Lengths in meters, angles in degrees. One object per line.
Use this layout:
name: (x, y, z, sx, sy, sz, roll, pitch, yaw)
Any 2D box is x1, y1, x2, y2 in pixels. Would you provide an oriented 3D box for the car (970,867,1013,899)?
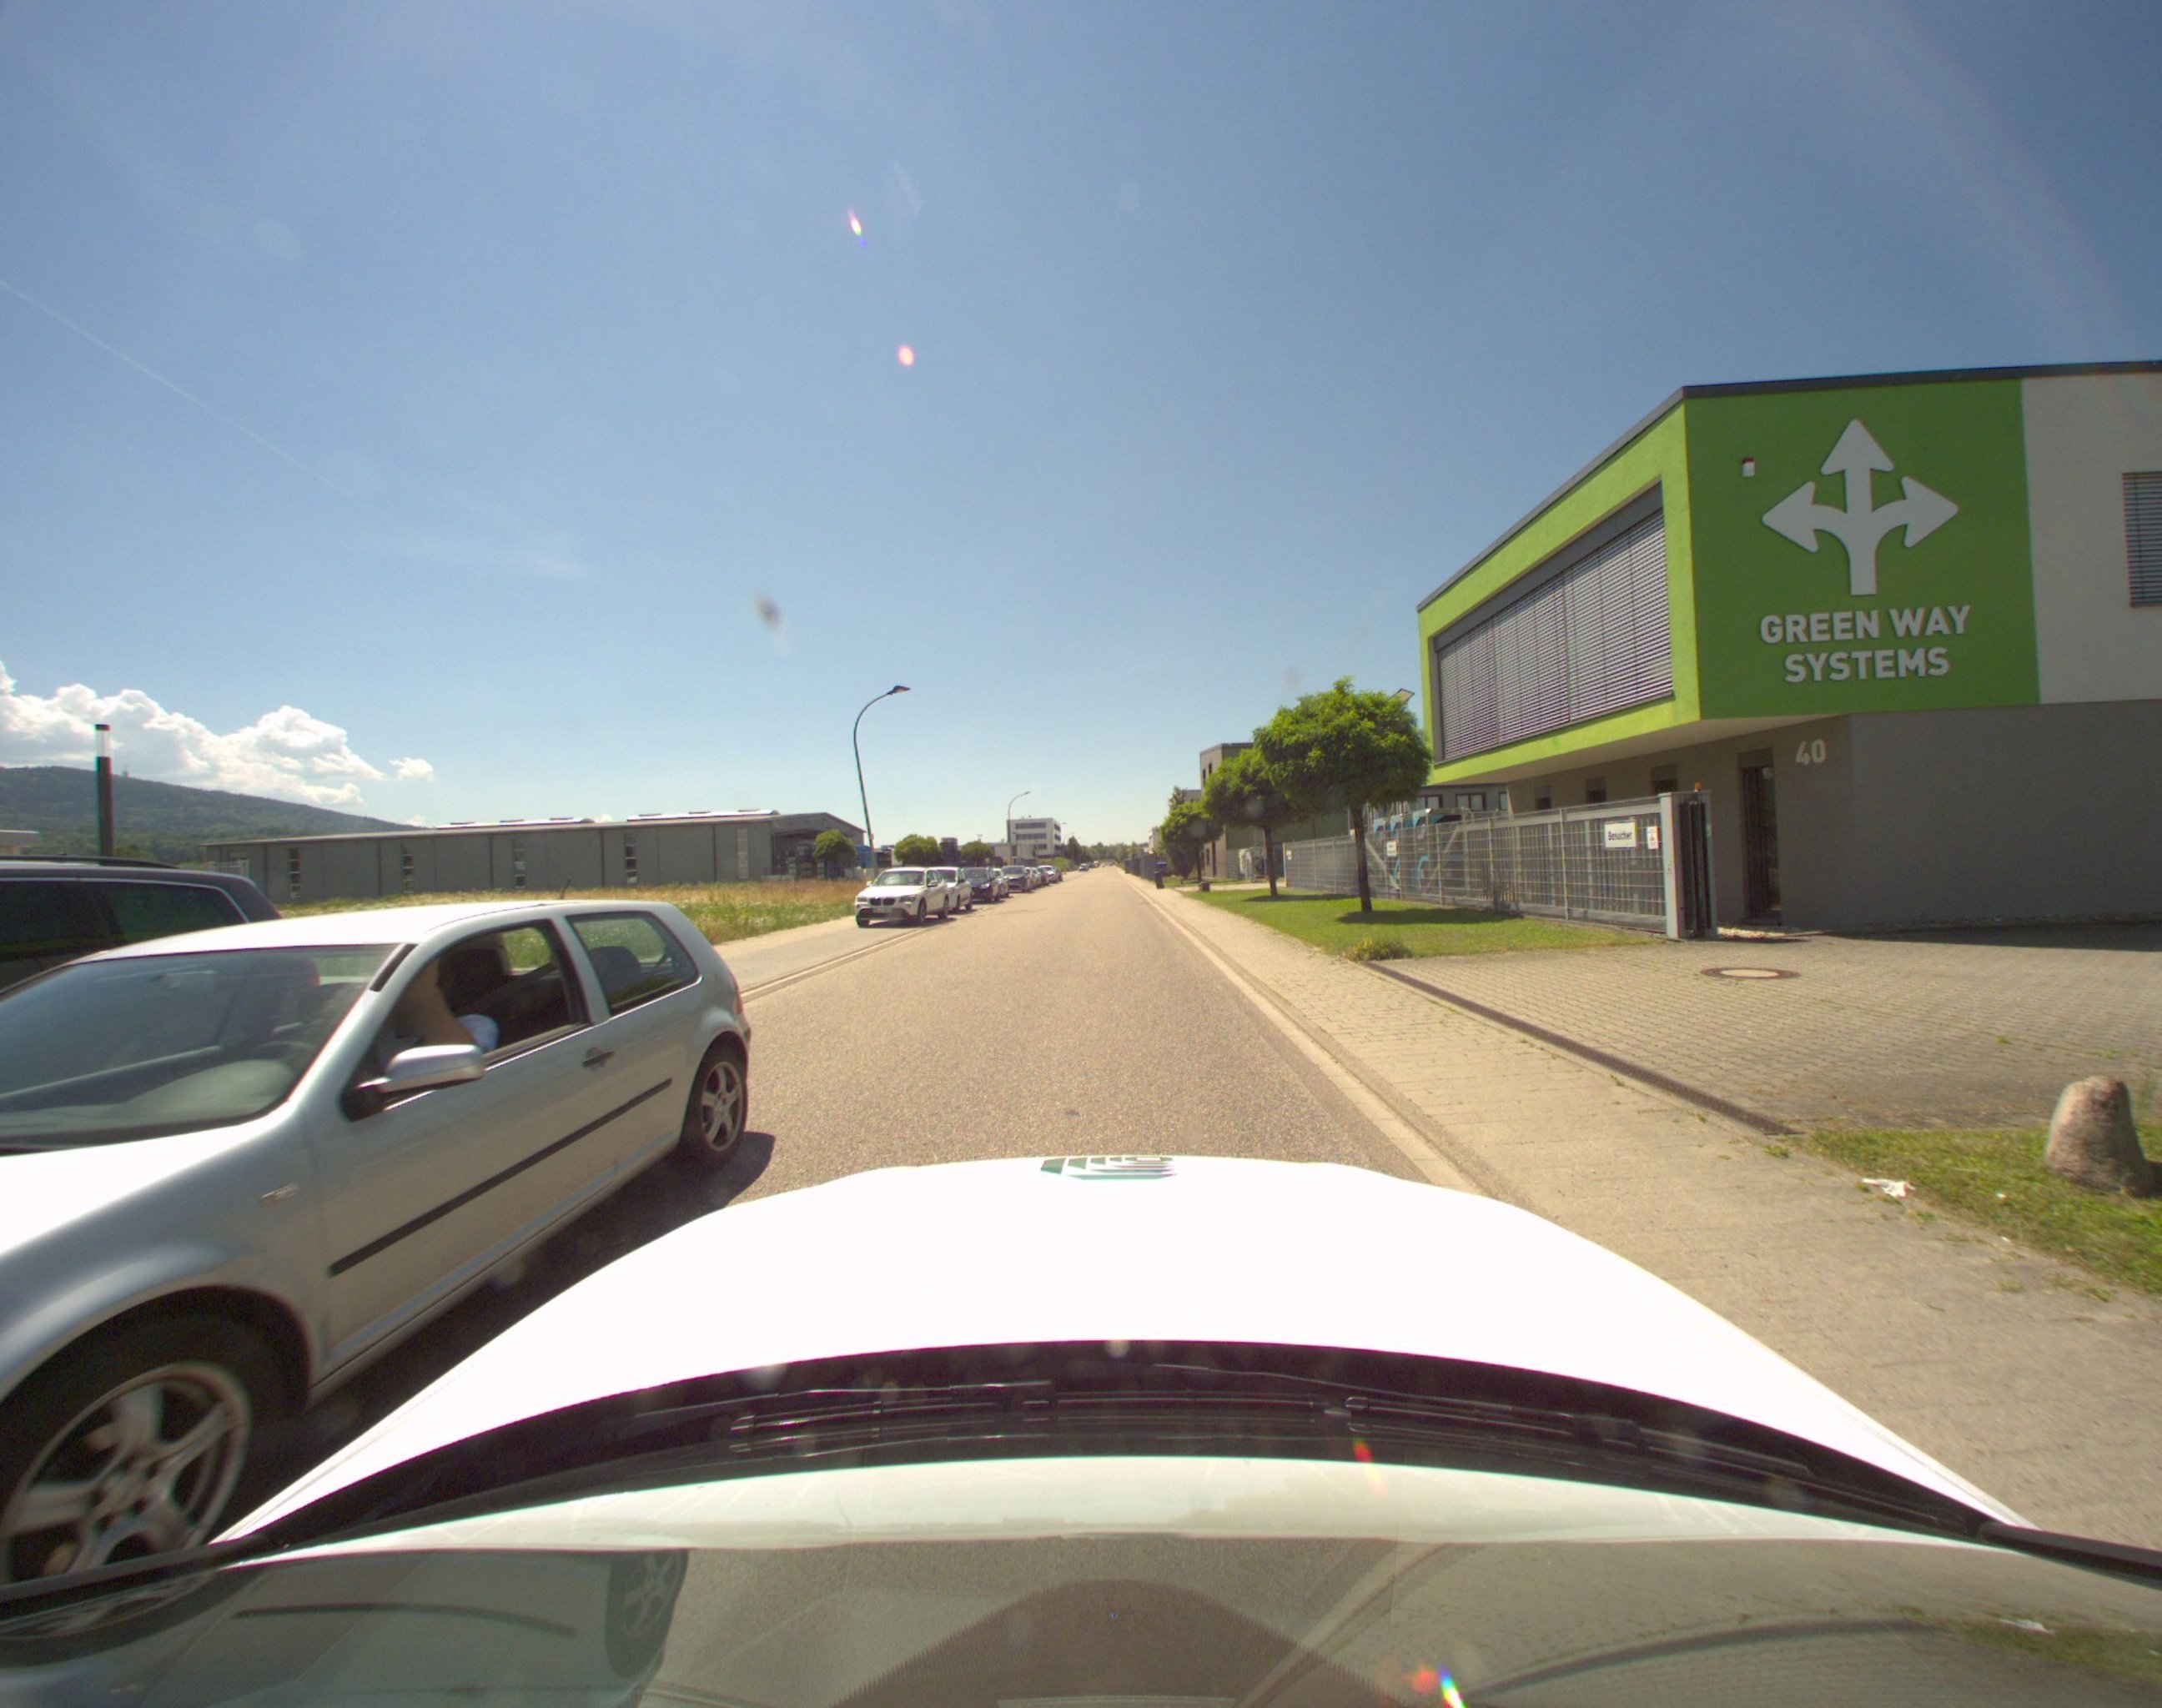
car: (-4.485, 1.430, 41.212, 1.758, 1.451, 4.198, -1, -1, -1)

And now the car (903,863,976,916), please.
car: (-4.816, 1.176, 28.183, 1.781, 1.656, 3.769, -2, -1, 1)

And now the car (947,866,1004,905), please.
car: (-4.496, 1.314, 35.235, 1.756, 1.517, 4.381, -1, -1, 1)

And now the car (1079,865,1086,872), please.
car: (0.312, 3.186, 180.063, 1.461, 1.490, 3.209, -2, -1, 2)

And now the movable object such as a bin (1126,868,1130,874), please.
movable object such as a bin: (7.603, 2.703, 132.026, 0.549, 0.928, 0.523, -7, 0, 6)

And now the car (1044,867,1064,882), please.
car: (-2.816, 2.113, 85.289, 1.762, 1.461, 4.335, -1, -1, 2)

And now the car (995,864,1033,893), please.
car: (-3.953, 1.454, 48.857, 1.784, 1.607, 4.463, -1, -1, 1)

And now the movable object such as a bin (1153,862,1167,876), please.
movable object such as a bin: (8.749, 1.663, 90.091, 1.329, 1.459, 0.949, -3, -1, 1)

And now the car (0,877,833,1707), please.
car: (-2.688, 0.914, 3.262, 1.698, 1.411, 4.786, -4, -1, 2)

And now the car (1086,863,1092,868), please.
car: (2.299, 3.259, 235.039, 1.638, 1.490, 3.209, -2, -1, 2)

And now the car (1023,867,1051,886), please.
car: (-3.524, 1.777, 65.423, 1.850, 1.481, 4.231, -1, -1, 2)

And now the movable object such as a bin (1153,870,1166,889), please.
movable object such as a bin: (4.191, 1.354, 43.624, 0.548, 0.928, 0.523, -6, -2, 11)

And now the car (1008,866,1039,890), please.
car: (-3.850, 1.588, 55.017, 1.688, 1.525, 3.735, -1, -1, 1)

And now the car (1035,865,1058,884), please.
car: (-3.111, 1.860, 74.337, 1.763, 1.592, 4.360, -1, -1, 1)

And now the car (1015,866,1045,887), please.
car: (-3.774, 1.681, 60.859, 1.769, 1.481, 4.816, -1, -1, 1)

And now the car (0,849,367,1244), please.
car: (-5.627, 0.849, 2.997, 1.796, 1.719, 4.624, -1, 0, 2)

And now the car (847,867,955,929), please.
car: (-4.951, 1.162, 23.050, 1.779, 1.542, 4.368, -2, -1, 4)
